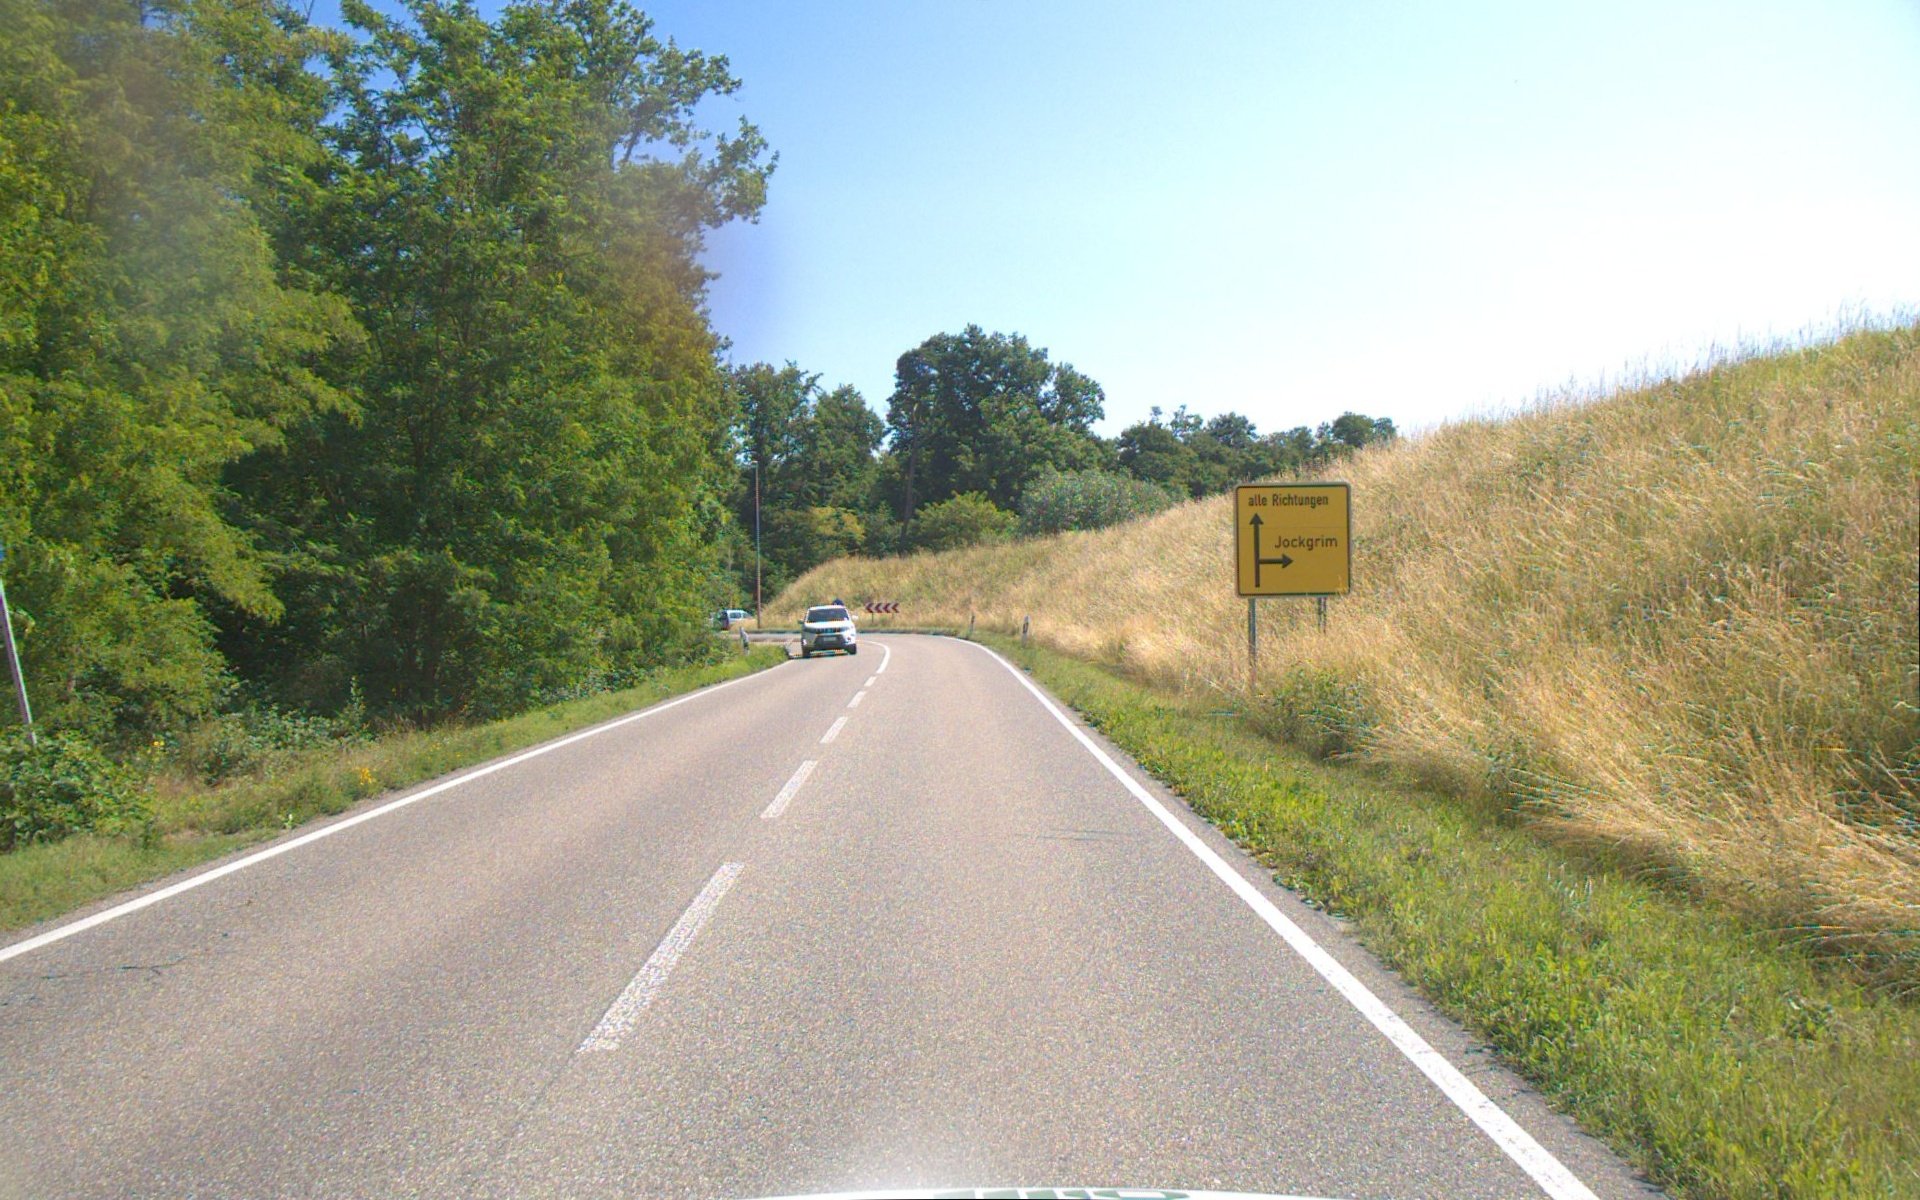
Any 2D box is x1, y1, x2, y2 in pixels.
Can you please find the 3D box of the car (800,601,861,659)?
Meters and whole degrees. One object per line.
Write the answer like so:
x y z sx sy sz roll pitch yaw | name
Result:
-4.191 0.933 53.981 1.774 1.706 3.997 -4 0 -3 | car
